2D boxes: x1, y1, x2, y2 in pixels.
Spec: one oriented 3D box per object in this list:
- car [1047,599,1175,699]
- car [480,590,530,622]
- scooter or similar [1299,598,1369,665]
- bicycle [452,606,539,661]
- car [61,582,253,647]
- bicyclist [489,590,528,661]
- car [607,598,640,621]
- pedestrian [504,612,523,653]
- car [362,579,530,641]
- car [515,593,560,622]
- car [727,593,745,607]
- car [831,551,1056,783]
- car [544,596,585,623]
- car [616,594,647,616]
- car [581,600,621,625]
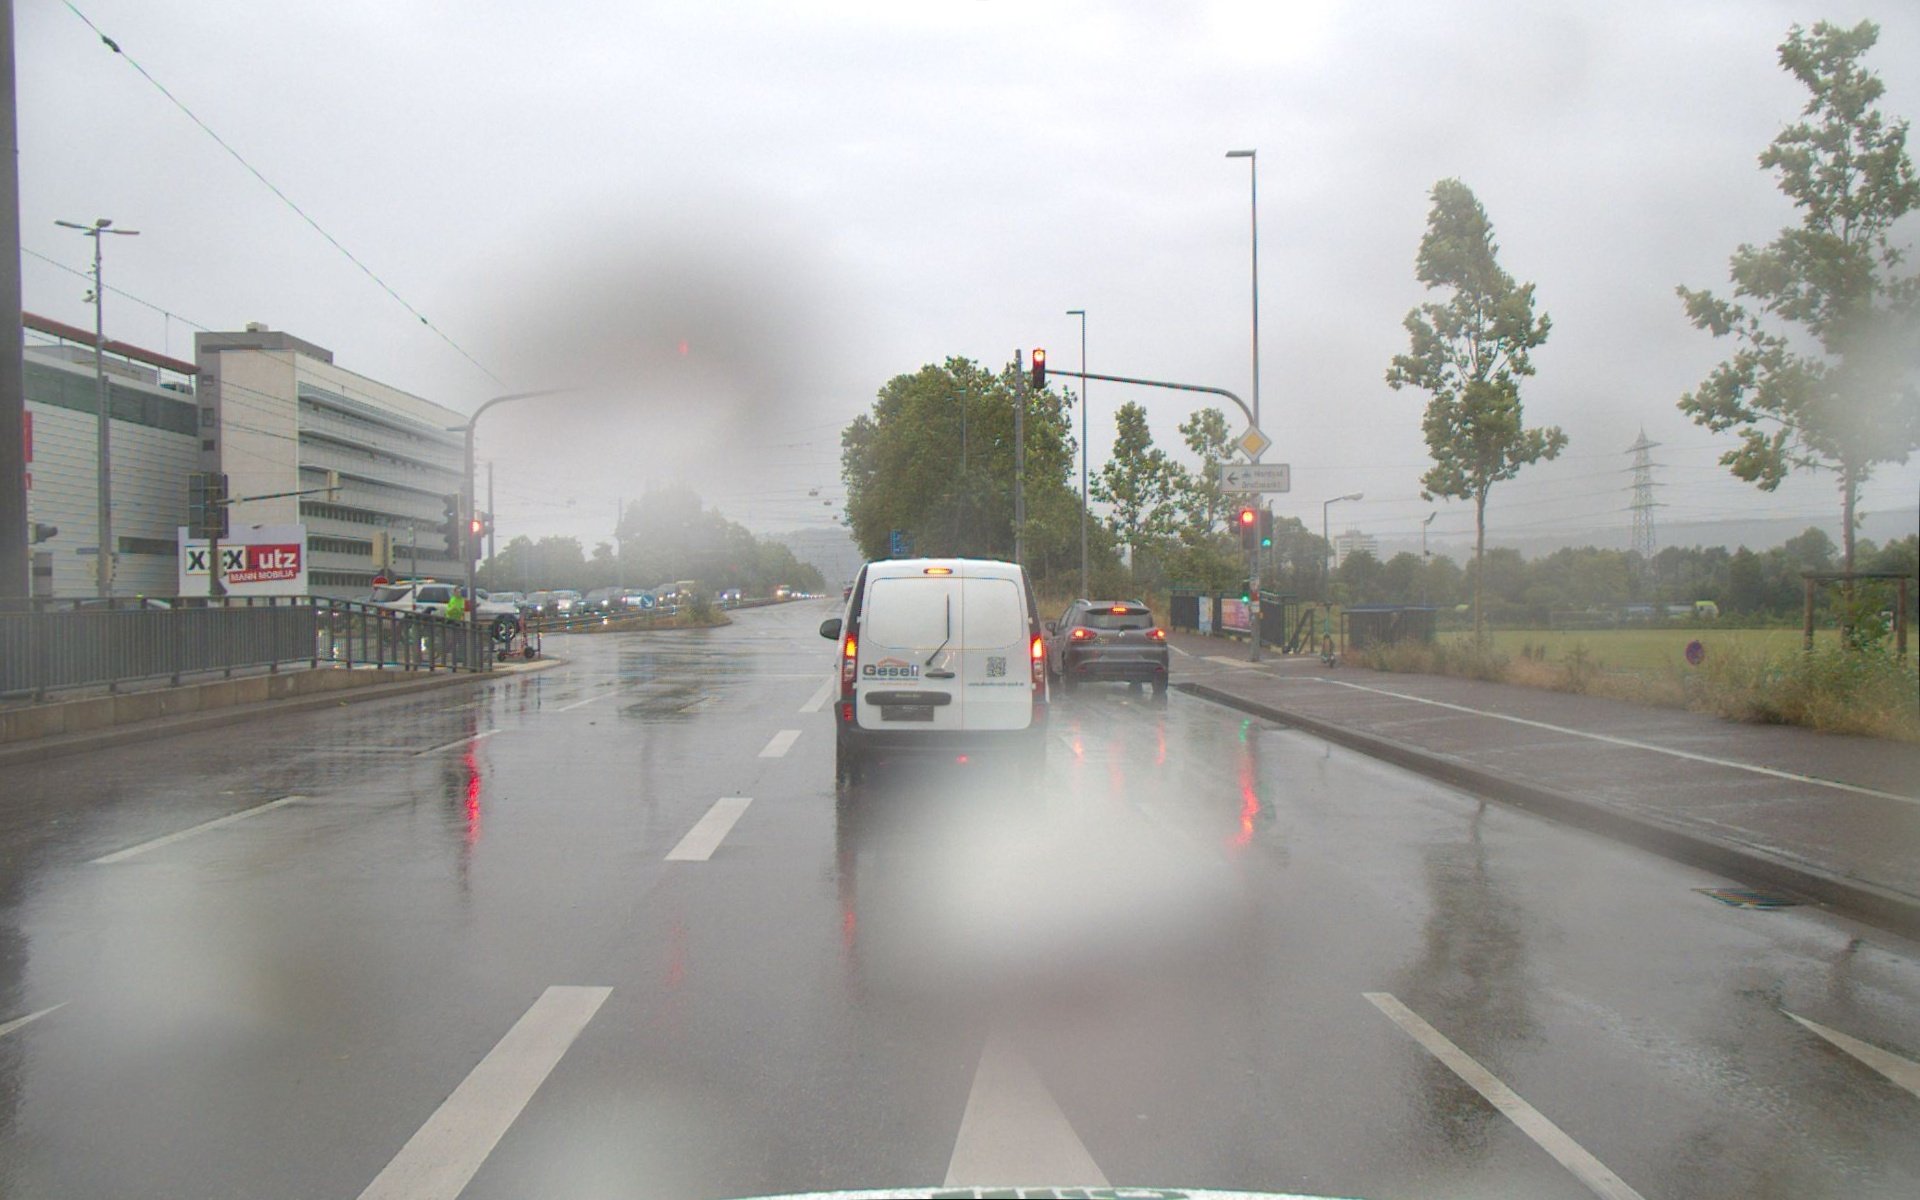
[{"bbox_3d":[2.464,0.775,27.788,1.650,1.534,3.919,1,0,-2],"label":"car"},{"bbox_3d":[-22.532,0.322,82.051,1.528,1.451,3.567,2,-1,-1],"label":"car"},{"bbox_3d":[7.247,0.585,32.210,0.676,1.232,3.020,-1,0,0],"label":"scooter or similar"},{"bbox_3d":[-9.966,0.712,35.508,1.745,1.157,0.512,1,-1,-44],"label":"bicycle"},{"bbox_3d":[-20.166,0.381,41.725,4.122,1.476,1.708,2,-2,-19],"label":"car"},{"bbox_3d":[-9.767,0.546,35.792,0.600,1.517,0.591,2,-1,-42],"label":"bicyclist"},{"bbox_3d":[-22.531,0.621,110.912,1.528,1.451,3.567,2,-1,-1],"label":"car"},{"bbox_3d":[-10.121,0.740,37.519,0.309,0.913,0.380,2,0,-3],"label":"pedestrian"},{"bbox_3d":[-15.427,0.328,49.705,4.416,1.691,1.928,3,-2,-37],"label":"car"},{"bbox_3d":[-22.736,0.419,89.127,1.528,1.451,3.567,2,-1,-1],"label":"car"},{"bbox_3d":[-24.742,-0.007,182.765,1.528,1.451,3.567,2,-1,-1],"label":"car"},{"bbox_3d":[-0.285,0.495,14.867,1.720,1.780,4.165,0,1,-5],"label":"car"},{"bbox_3d":[-22.818,0.565,95.612,1.528,1.451,3.567,2,-1,-1],"label":"car"},{"bbox_3d":[-23.524,0.360,118.621,1.528,1.451,3.567,2,-1,-1],"label":"car"},{"bbox_3d":[-22.334,0.796,102.934,1.676,1.451,3.807,2,-1,-1],"label":"car"}]
